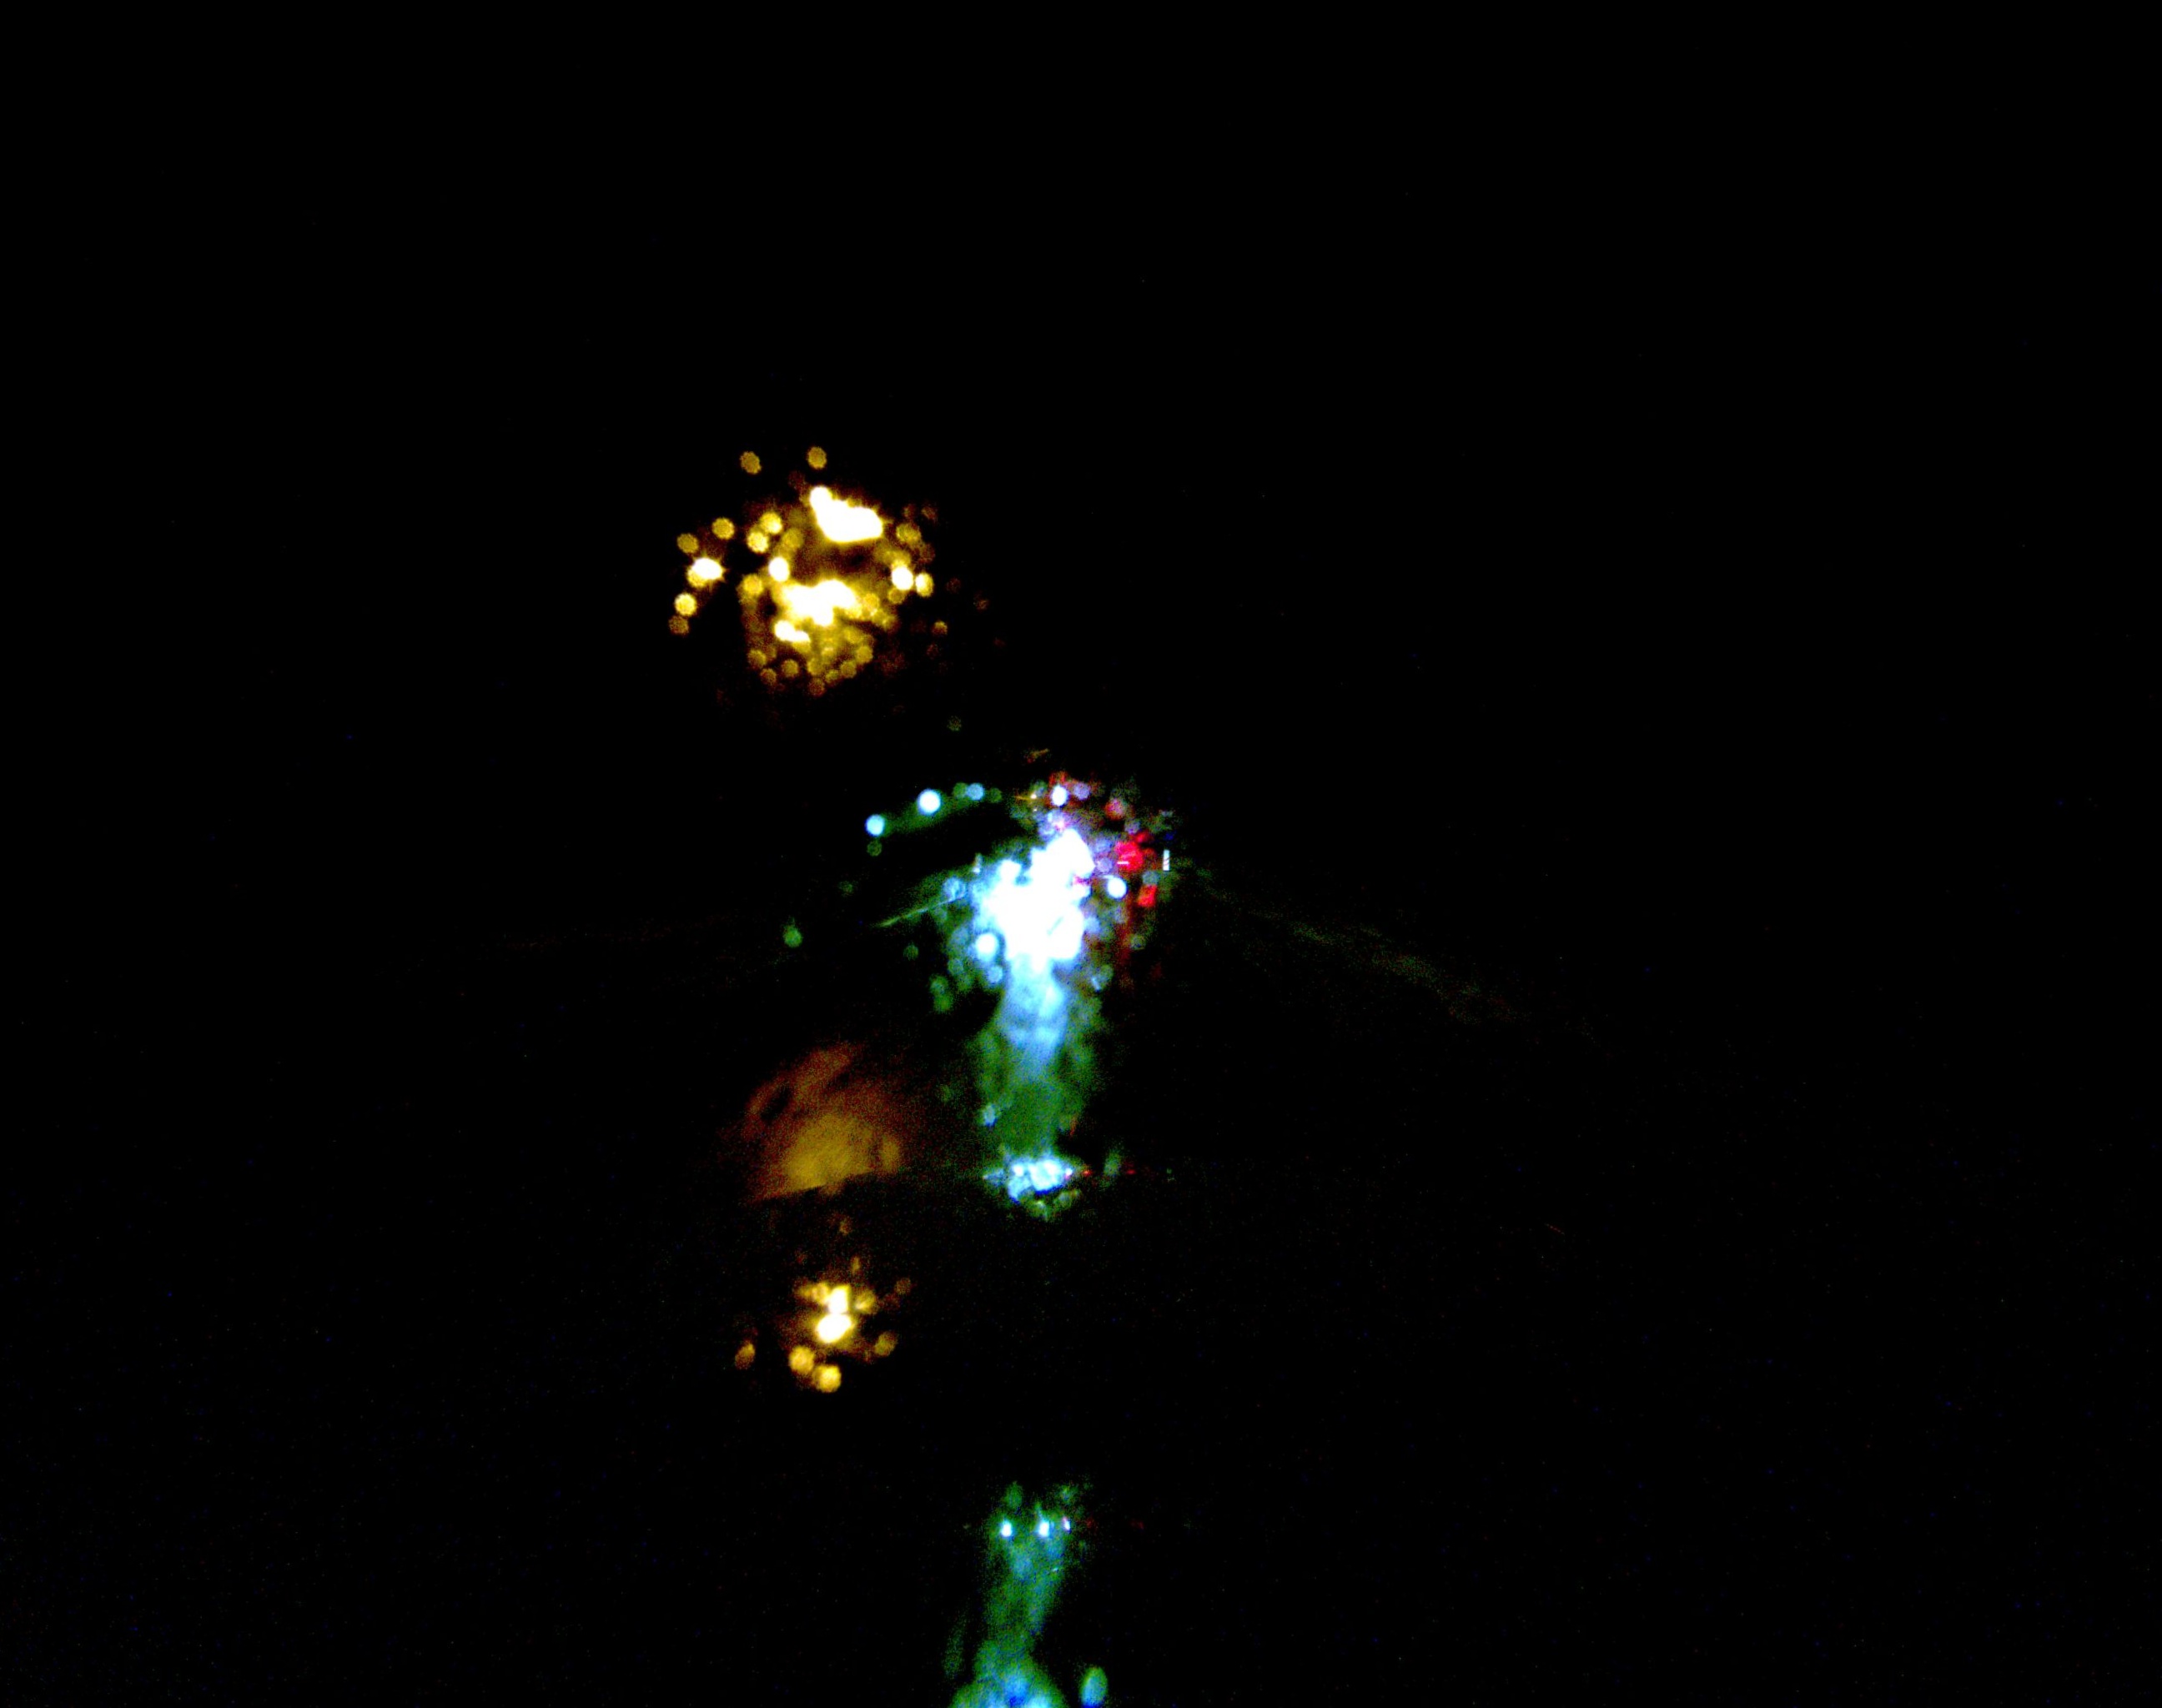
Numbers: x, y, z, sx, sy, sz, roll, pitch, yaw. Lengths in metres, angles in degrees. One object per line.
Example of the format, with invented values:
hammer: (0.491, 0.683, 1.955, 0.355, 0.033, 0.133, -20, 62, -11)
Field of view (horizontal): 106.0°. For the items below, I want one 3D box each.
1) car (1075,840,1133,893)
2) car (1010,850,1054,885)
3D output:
car: (0.793, 0.418, 27.633, 1.795, 1.628, 3.616, 1, -1, 2)
car: (-2.169, 0.598, 37.020, 1.726, 1.518, 4.016, 0, 0, 1)
